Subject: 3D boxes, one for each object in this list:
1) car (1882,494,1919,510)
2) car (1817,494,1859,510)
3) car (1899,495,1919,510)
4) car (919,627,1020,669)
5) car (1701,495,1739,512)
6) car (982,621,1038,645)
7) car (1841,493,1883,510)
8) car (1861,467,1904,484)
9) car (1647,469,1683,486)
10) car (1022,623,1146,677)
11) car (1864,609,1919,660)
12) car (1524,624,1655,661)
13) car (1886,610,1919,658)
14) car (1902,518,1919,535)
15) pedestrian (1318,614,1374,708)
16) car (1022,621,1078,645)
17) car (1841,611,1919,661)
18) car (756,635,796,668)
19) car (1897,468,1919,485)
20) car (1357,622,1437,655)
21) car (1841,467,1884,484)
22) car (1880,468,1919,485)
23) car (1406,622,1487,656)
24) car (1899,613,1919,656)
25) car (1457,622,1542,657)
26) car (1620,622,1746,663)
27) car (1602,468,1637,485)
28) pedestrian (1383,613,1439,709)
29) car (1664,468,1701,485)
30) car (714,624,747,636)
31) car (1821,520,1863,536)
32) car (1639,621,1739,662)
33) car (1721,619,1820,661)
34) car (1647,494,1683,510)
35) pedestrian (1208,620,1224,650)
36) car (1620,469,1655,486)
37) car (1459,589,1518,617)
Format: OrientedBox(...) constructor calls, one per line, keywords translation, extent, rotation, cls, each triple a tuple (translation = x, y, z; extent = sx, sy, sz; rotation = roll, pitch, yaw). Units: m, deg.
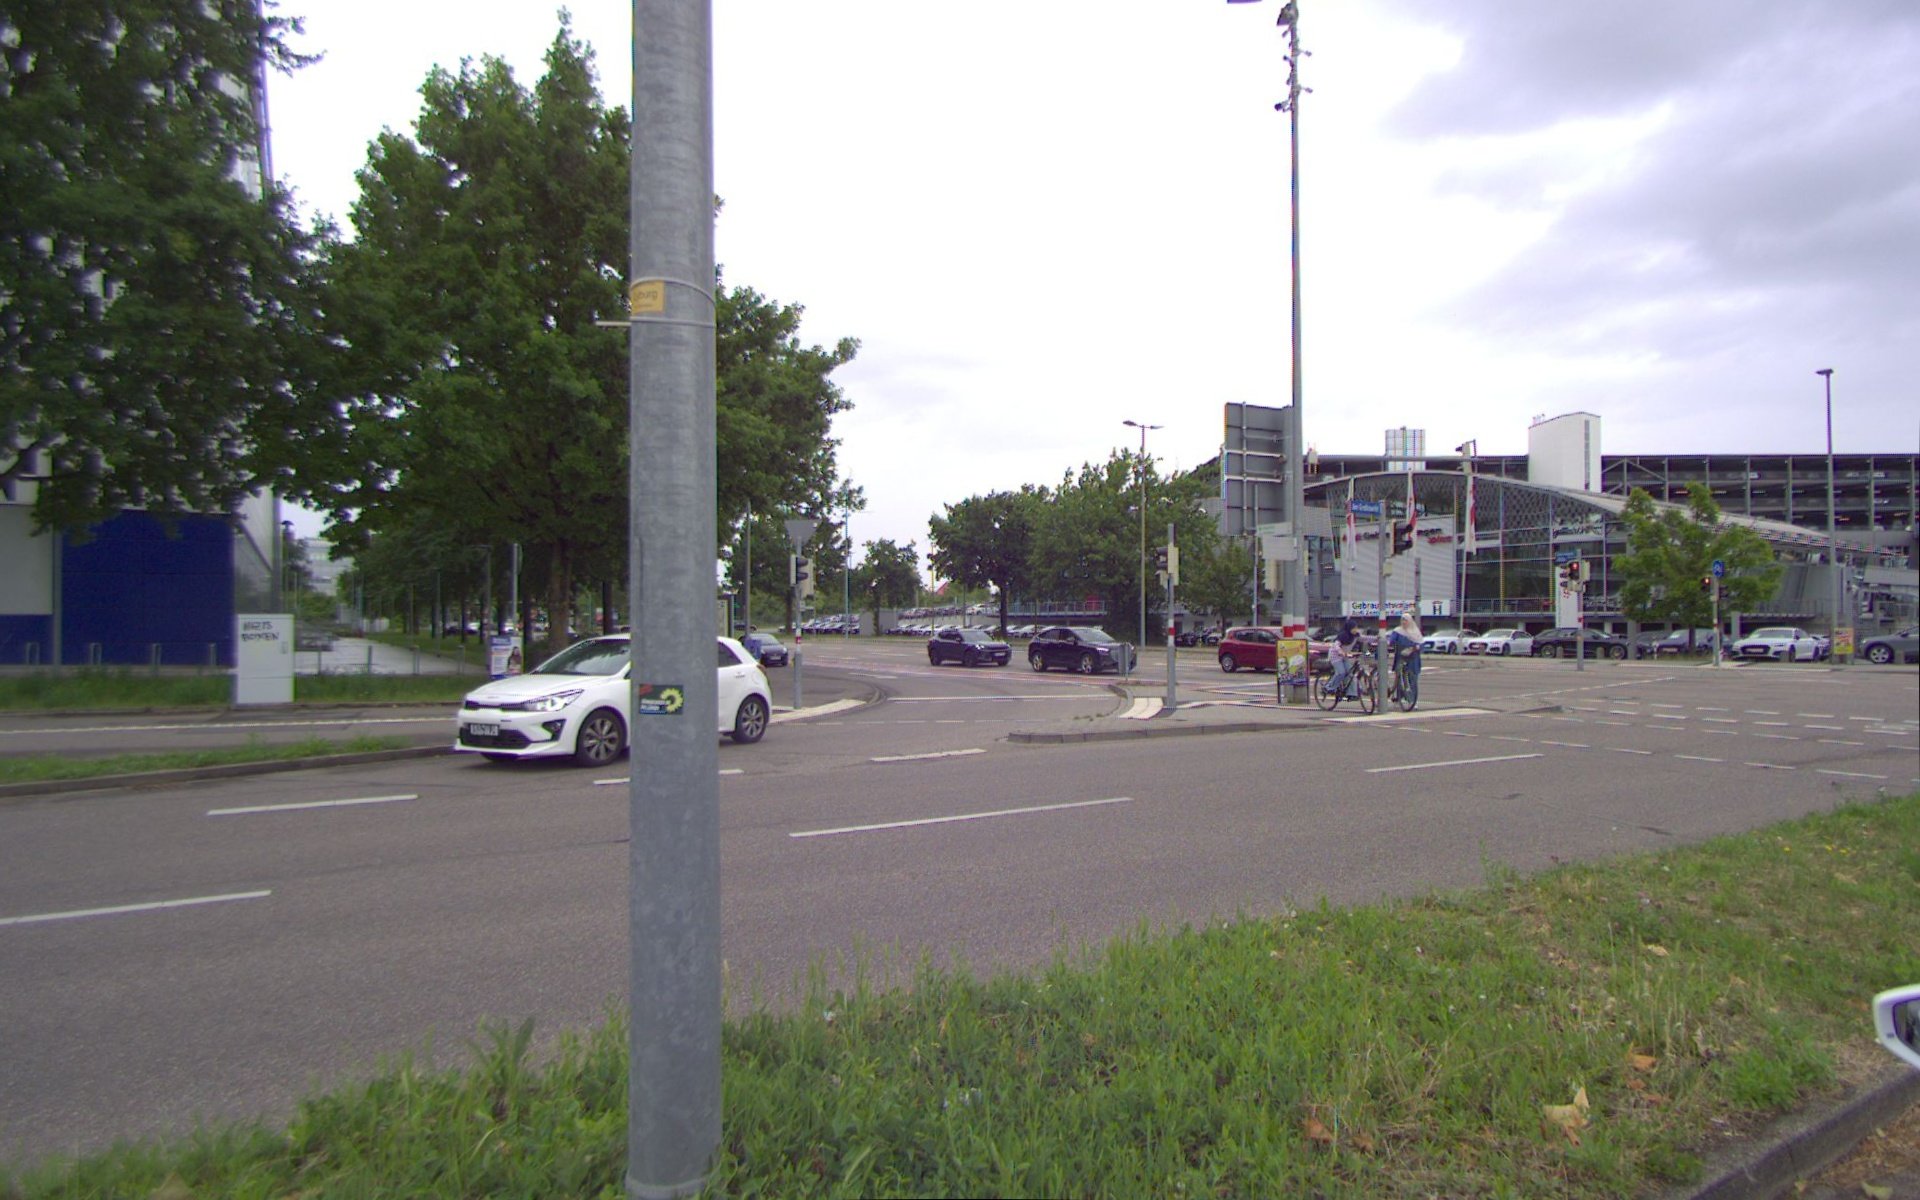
OrientedBox(translation=(121.923, -12.646, 129.854), extent=(1.960, 1.689, 4.001), rotation=(1, 0, 2), cls="car")
OrientedBox(translation=(113.573, -12.652, 130.005), extent=(1.960, 1.689, 4.001), rotation=(1, 0, 2), cls="car")
OrientedBox(translation=(124.144, -12.662, 129.840), extent=(1.960, 1.689, 4.001), rotation=(1, 0, 2), cls="car")
OrientedBox(translation=(0.327, 1.957, 41.374), extent=(1.867, 1.565, 4.554), rotation=(-1, -1, -35), cls="car")
OrientedBox(translation=(98.637, -12.515, 130.361), extent=(1.960, 1.689, 4.001), rotation=(1, 0, 2), cls="car")
OrientedBox(translation=(4.131, 2.723, 82.823), extent=(4.153, 1.505, 1.959), rotation=(7, -3, -33), cls="car")
OrientedBox(translation=(116.544, -12.698, 129.874), extent=(1.960, 1.689, 4.001), rotation=(1, 0, 2), cls="car")
OrientedBox(translation=(119.347, -16.062, 129.930), extent=(1.960, 1.689, 4.001), rotation=(1, 0, 2), cls="car")
OrientedBox(translation=(91.693, -15.890, 130.613), extent=(1.960, 1.689, 4.001), rotation=(1, 0, 2), cls="car")
OrientedBox(translation=(4.283, 1.718, 35.271), extent=(1.867, 1.659, 4.292), rotation=(-3, 0, -35), cls="car")
OrientedBox(translation=(39.713, 1.389, 40.333), extent=(1.979, 2.040, 4.674), rotation=(2, -4, -34), cls="car")
OrientedBox(translation=(28.374, 1.902, 45.448), extent=(1.873, 1.505, 4.713), rotation=(4, -4, -32), cls="car")
OrientedBox(translation=(42.262, 1.413, 41.864), extent=(2.243, 2.040, 4.993), rotation=(2, -4, -34), cls="car")
OrientedBox(translation=(126.685, -9.721, 131.277), extent=(2.167, 1.971, 5.331), rotation=(1, 0, -1), cls="car")
OrientedBox(translation=(6.614, 1.041, 17.234), extent=(0.642, 1.569, 0.649), rotation=(2, -2, -7), cls="pedestrian")
OrientedBox(translation=(7.049, 2.574, 78.620), extent=(4.037, 1.505, 1.801), rotation=(7, -3, -34), cls="car")
OrientedBox(translation=(37.576, 1.396, 38.950), extent=(1.979, 1.887, 4.744), rotation=(2, -4, -34), cls="car")
OrientedBox(translation=(-8.558, 2.349, 46.533), extent=(1.697, 1.389, 3.992), rotation=(-1, -2, -12), cls="car")
OrientedBox(translation=(124.350, -16.034, 130.271), extent=(1.960, 1.689, 4.001), rotation=(1, 0, 2), cls="car")
OrientedBox(translation=(22.986, 2.027, 52.793), extent=(4.188, 1.505, 1.855), rotation=(4, -3, -33), cls="car")
OrientedBox(translation=(116.727, -16.059, 129.973), extent=(1.960, 1.689, 4.001), rotation=(1, 0, 2), cls="car")
OrientedBox(translation=(122.106, -16.020, 130.294), extent=(1.960, 1.689, 4.001), rotation=(1, 0, 2), cls="car")
OrientedBox(translation=(24.487, 1.969, 50.498), extent=(4.002, 1.505, 1.860), rotation=(4, -3, -33), cls="car")
OrientedBox(translation=(44.294, 1.471, 43.554), extent=(2.034, 1.900, 4.914), rotation=(2, -4, -35), cls="car")
OrientedBox(translation=(26.013, 1.909, 48.436), extent=(4.154, 1.505, 1.836), rotation=(4, -3, -33), cls="car")
OrientedBox(translation=(36.263, 2.093, 50.514), extent=(1.978, 1.965, 4.776), rotation=(1, -2, -32), cls="car")
OrientedBox(translation=(86.123, -16.058, 131.200), extent=(1.960, 1.689, 4.001), rotation=(1, 0, 2), cls="car")
OrientedBox(translation=(7.942, 1.077, 17.723), extent=(0.628, 1.647, 0.693), rotation=(-1, -4, 3), cls="pedestrian")
OrientedBox(translation=(94.061, -16.033, 130.784), extent=(1.960, 1.689, 4.001), rotation=(1, 0, 2), cls="car")
OrientedBox(translation=(-30.244, 3.896, 132.494), extent=(3.949, 1.455, 1.718), rotation=(2, 0, -27), cls="car")
OrientedBox(translation=(114.168, -9.332, 130.078), extent=(1.960, 1.689, 4.001), rotation=(1, 0, 2), cls="car")
OrientedBox(translation=(30.490, 1.752, 42.002), extent=(4.473, 1.505, 2.050), rotation=(4, -5, -35), cls="car")
OrientedBox(translation=(32.005, 1.609, 39.647), extent=(4.184, 1.505, 1.858), rotation=(3, -3, -33), cls="car")
OrientedBox(translation=(91.564, -12.740, 130.559), extent=(1.960, 1.689, 4.001), rotation=(1, 0, 2), cls="car")
OrientedBox(translation=(16.069, 2.187, 63.039), extent=(0.666, 1.895, 0.713), rotation=(3, -2, -31), cls="pedestrian")
OrientedBox(translation=(88.517, -15.984, 131.307), extent=(1.960, 1.689, 4.001), rotation=(1, 0, 2), cls="car")
OrientedBox(translation=(34.717, 0.214, 65.984), extent=(3.960, 1.684, 1.807), rotation=(2, 0, -35), cls="car")
